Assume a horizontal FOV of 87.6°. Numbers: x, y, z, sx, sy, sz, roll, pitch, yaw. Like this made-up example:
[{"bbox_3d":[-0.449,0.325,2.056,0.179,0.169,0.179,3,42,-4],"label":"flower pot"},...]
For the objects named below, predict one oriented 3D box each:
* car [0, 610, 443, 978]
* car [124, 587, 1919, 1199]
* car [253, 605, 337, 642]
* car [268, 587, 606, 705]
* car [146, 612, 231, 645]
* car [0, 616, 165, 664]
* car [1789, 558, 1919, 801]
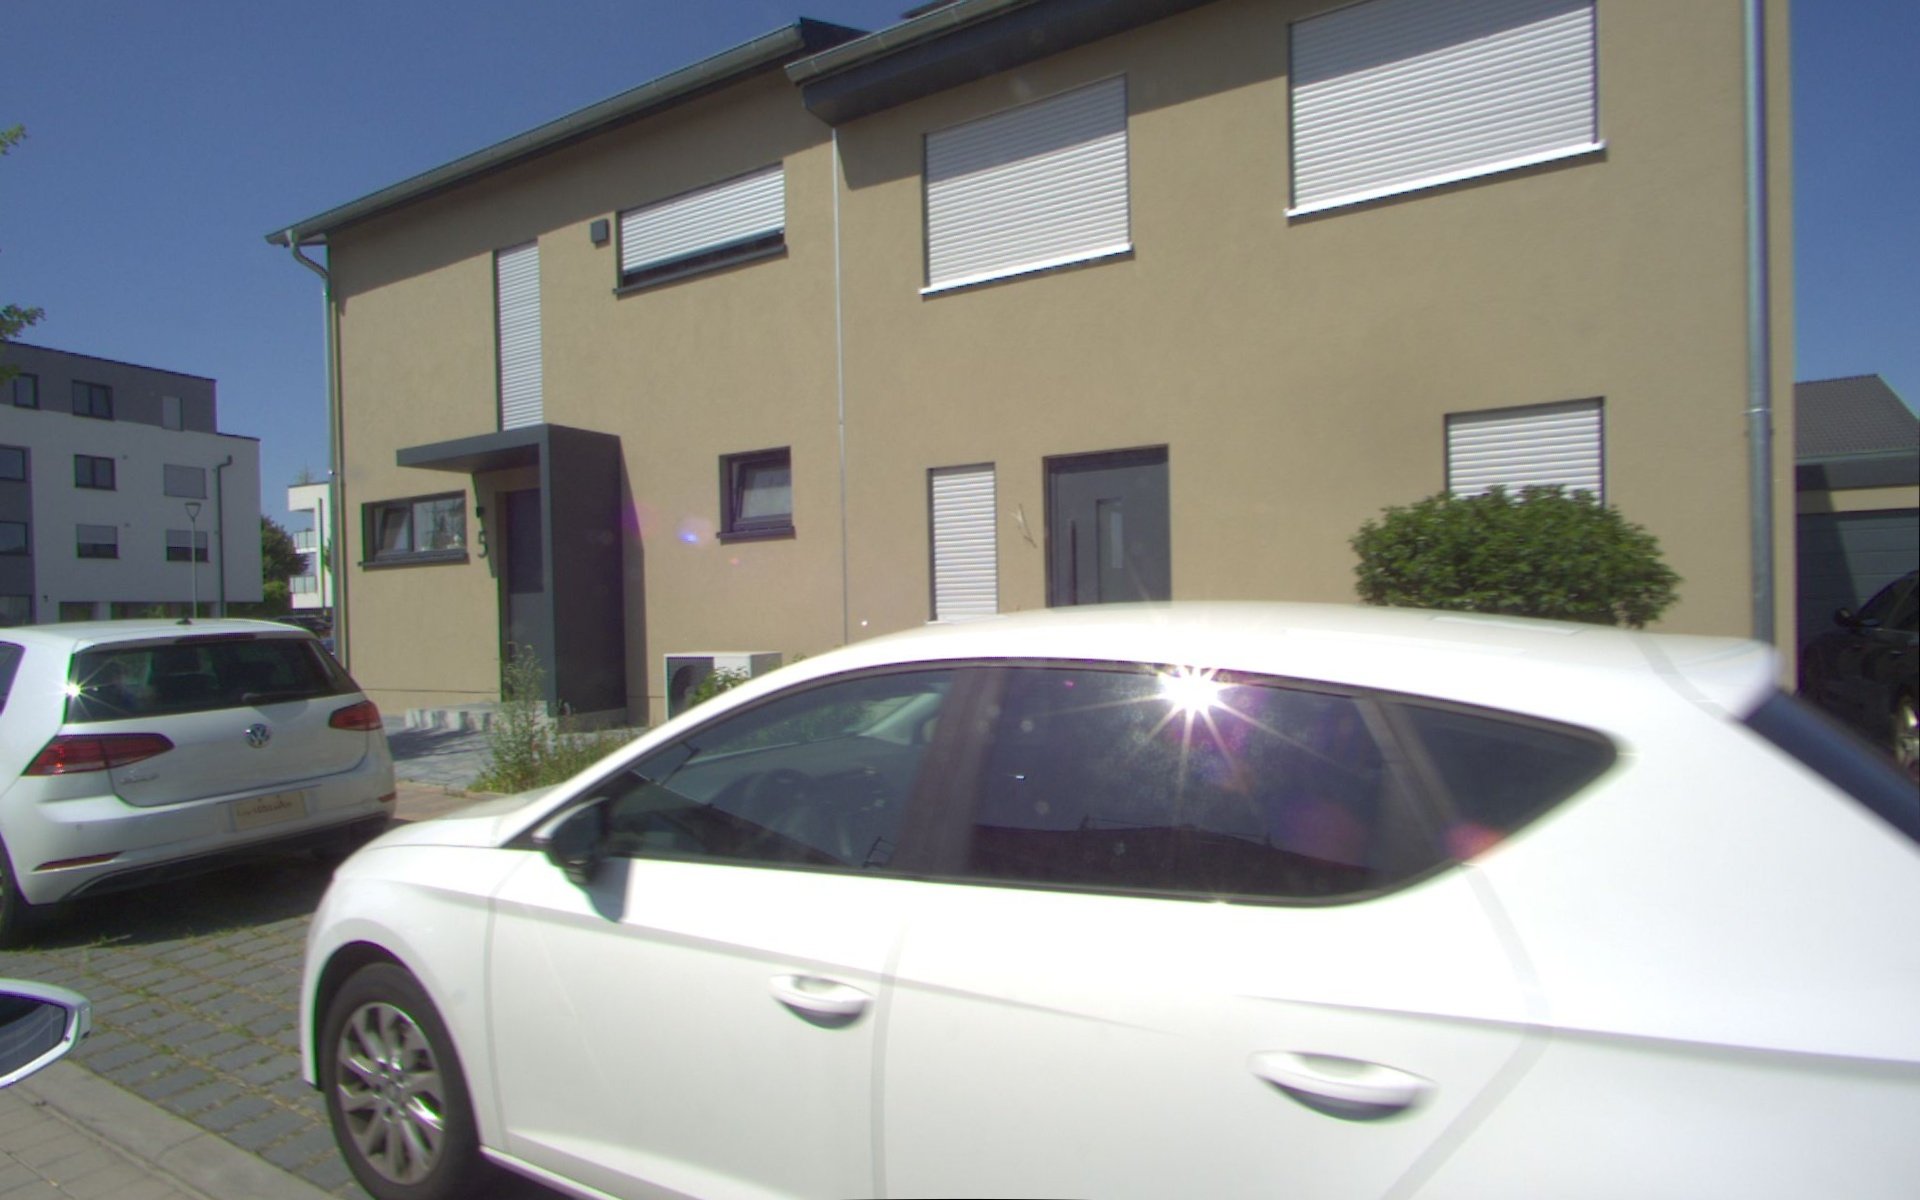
[{"bbox_3d":[-5.288,0.809,5.912,4.444,1.445,1.777,0,1,29],"label":"car"},{"bbox_3d":[-0.017,0.762,2.570,4.496,1.475,1.811,-1,1,30],"label":"car"},{"bbox_3d":[-35.811,1.262,53.933,4.104,1.833,1.876,-2,0,25],"label":"car"},{"bbox_3d":[-8.508,0.659,16.827,1.969,1.666,4.742,-2,0,27],"label":"car"},{"bbox_3d":[-38.397,1.429,49.814,3.619,1.522,1.876,-2,0,25],"label":"car"},{"bbox_3d":[-30.014,1.325,34.145,1.852,1.454,4.159,-2,-1,23],"label":"car"},{"bbox_3d":[7.624,0.428,7.107,1.971,1.445,4.876,-1,2,31],"label":"car"}]
